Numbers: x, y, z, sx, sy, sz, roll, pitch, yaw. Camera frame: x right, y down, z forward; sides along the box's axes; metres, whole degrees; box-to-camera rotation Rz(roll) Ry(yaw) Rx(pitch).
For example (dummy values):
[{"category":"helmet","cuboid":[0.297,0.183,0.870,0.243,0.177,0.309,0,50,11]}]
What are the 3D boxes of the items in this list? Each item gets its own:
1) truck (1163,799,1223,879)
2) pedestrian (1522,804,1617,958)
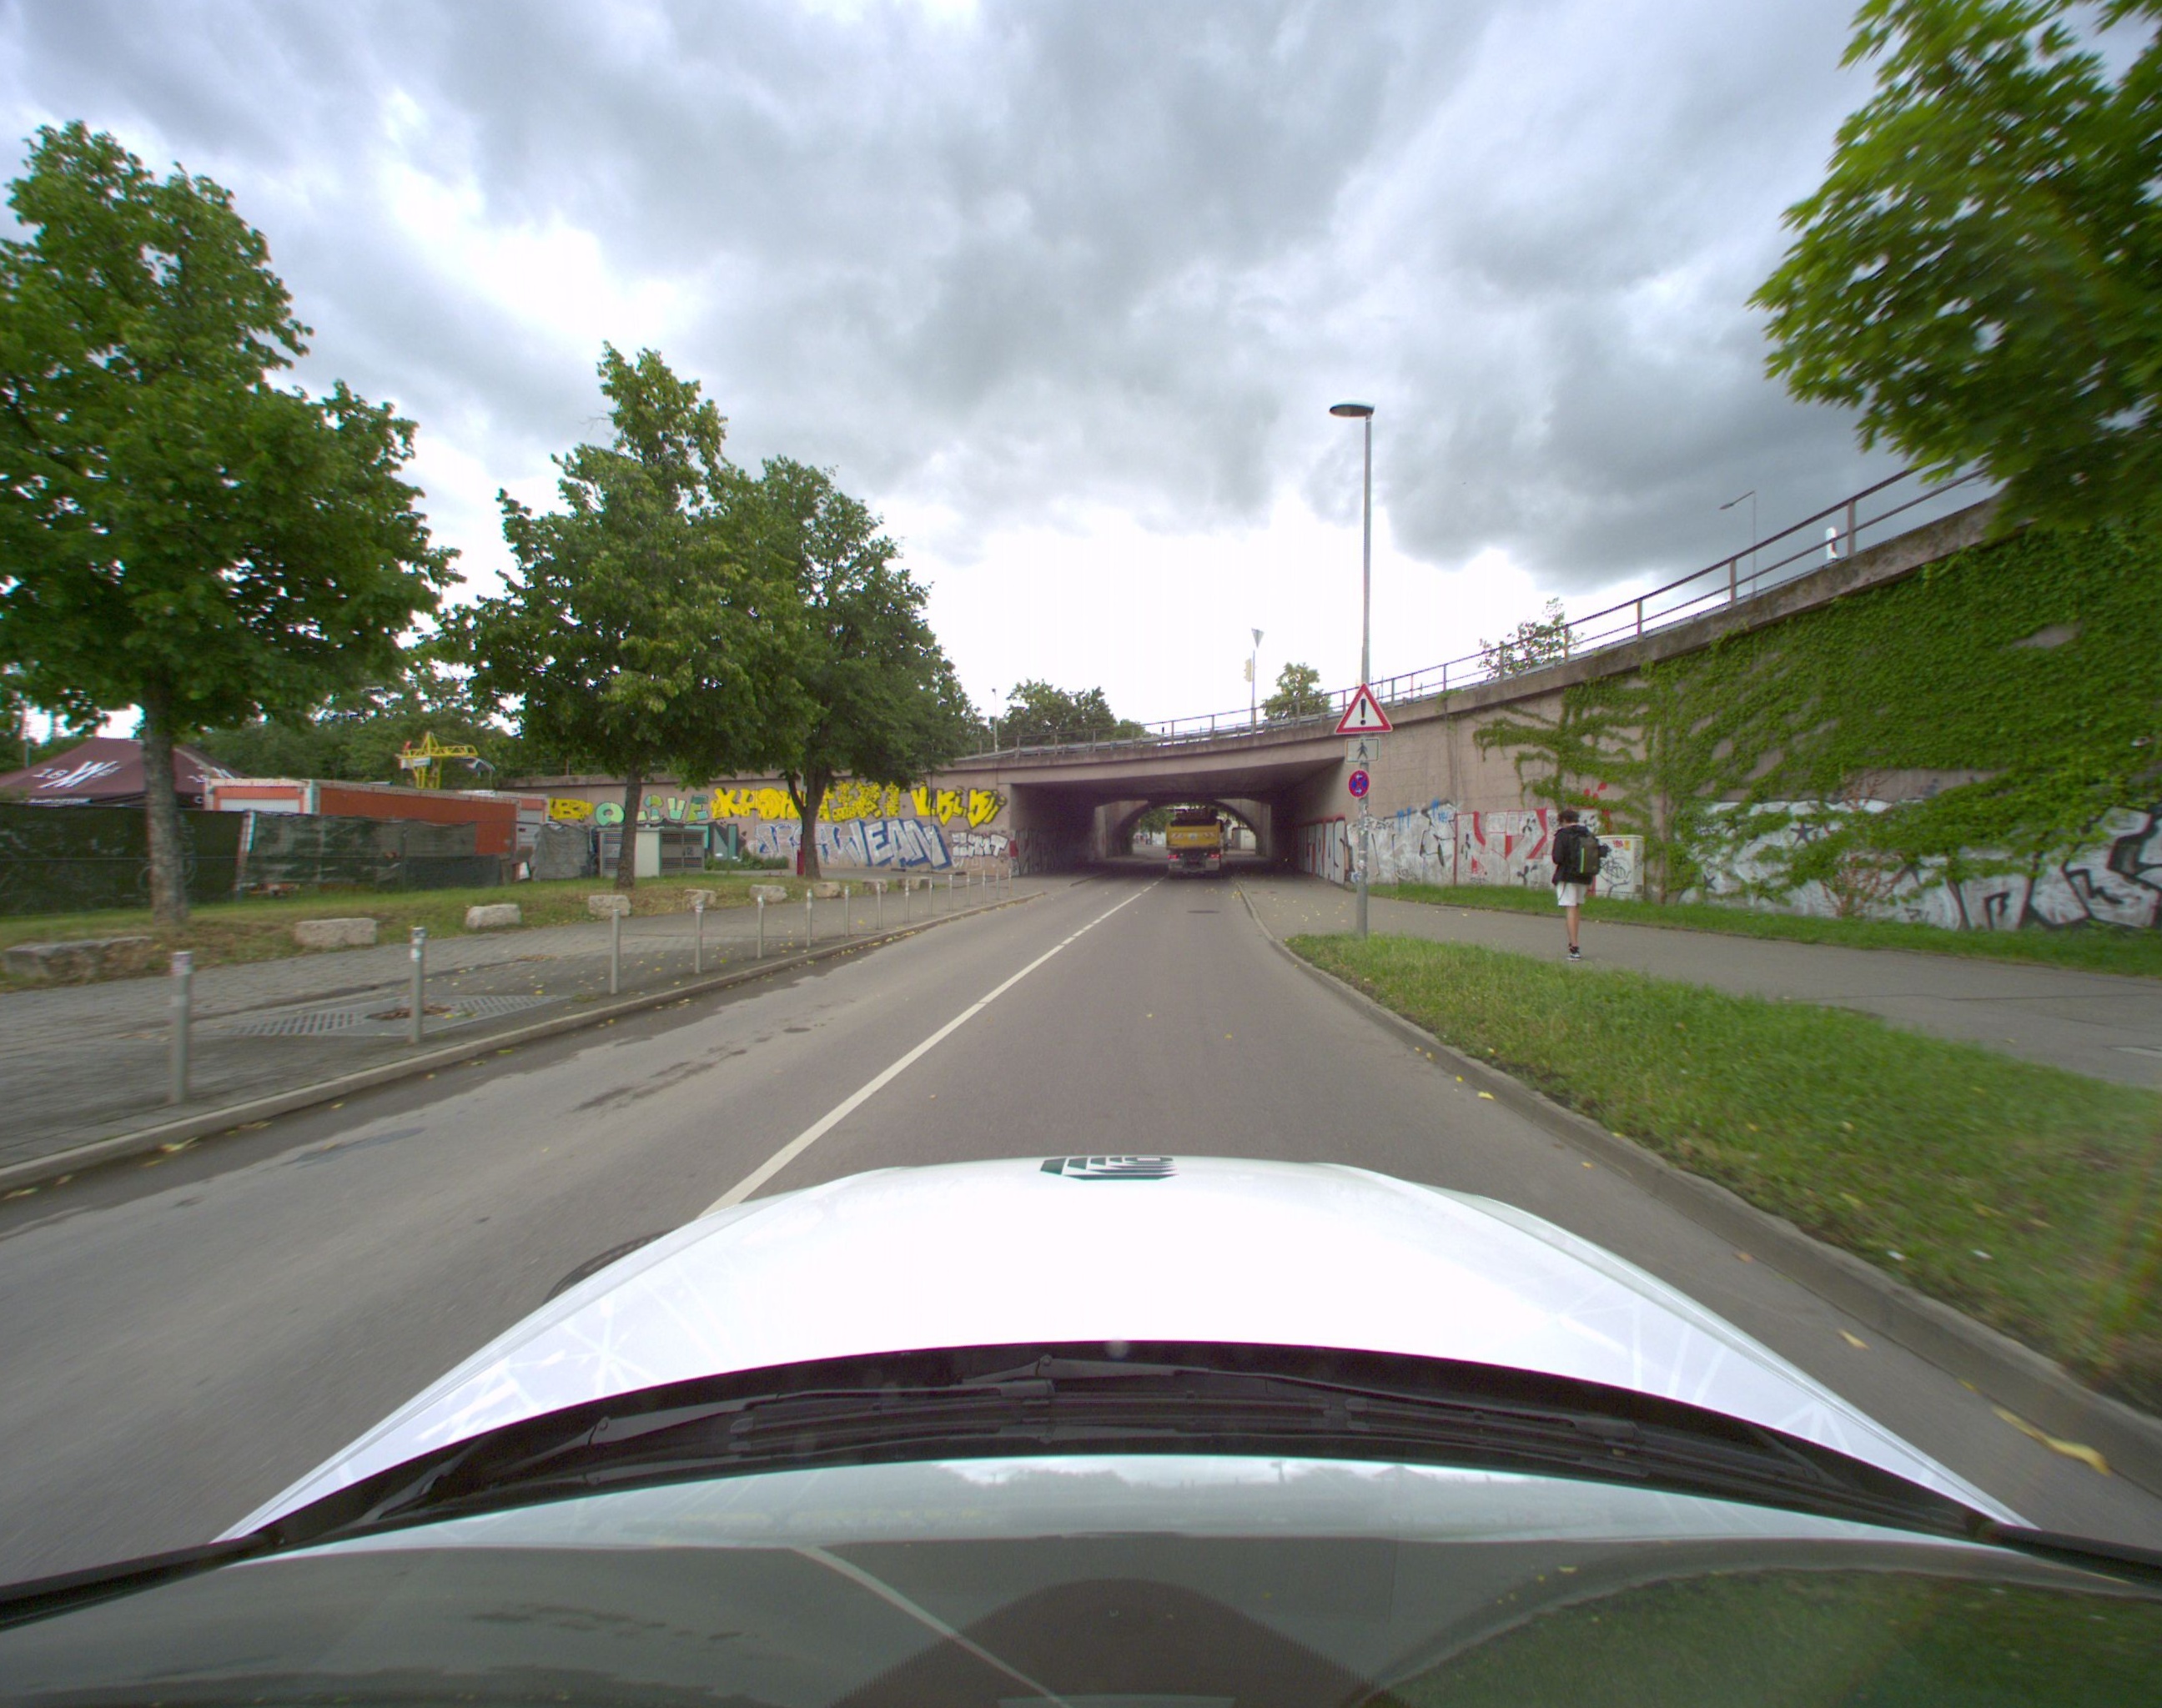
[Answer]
[{"category":"truck","cuboid":[5.901,-0.712,42.187,2.741,3.698,7.901,1,0,9]},{"category":"pedestrian","cuboid":[6.279,0.335,10.512,0.733,1.907,0.825,0,0,-2]}]
